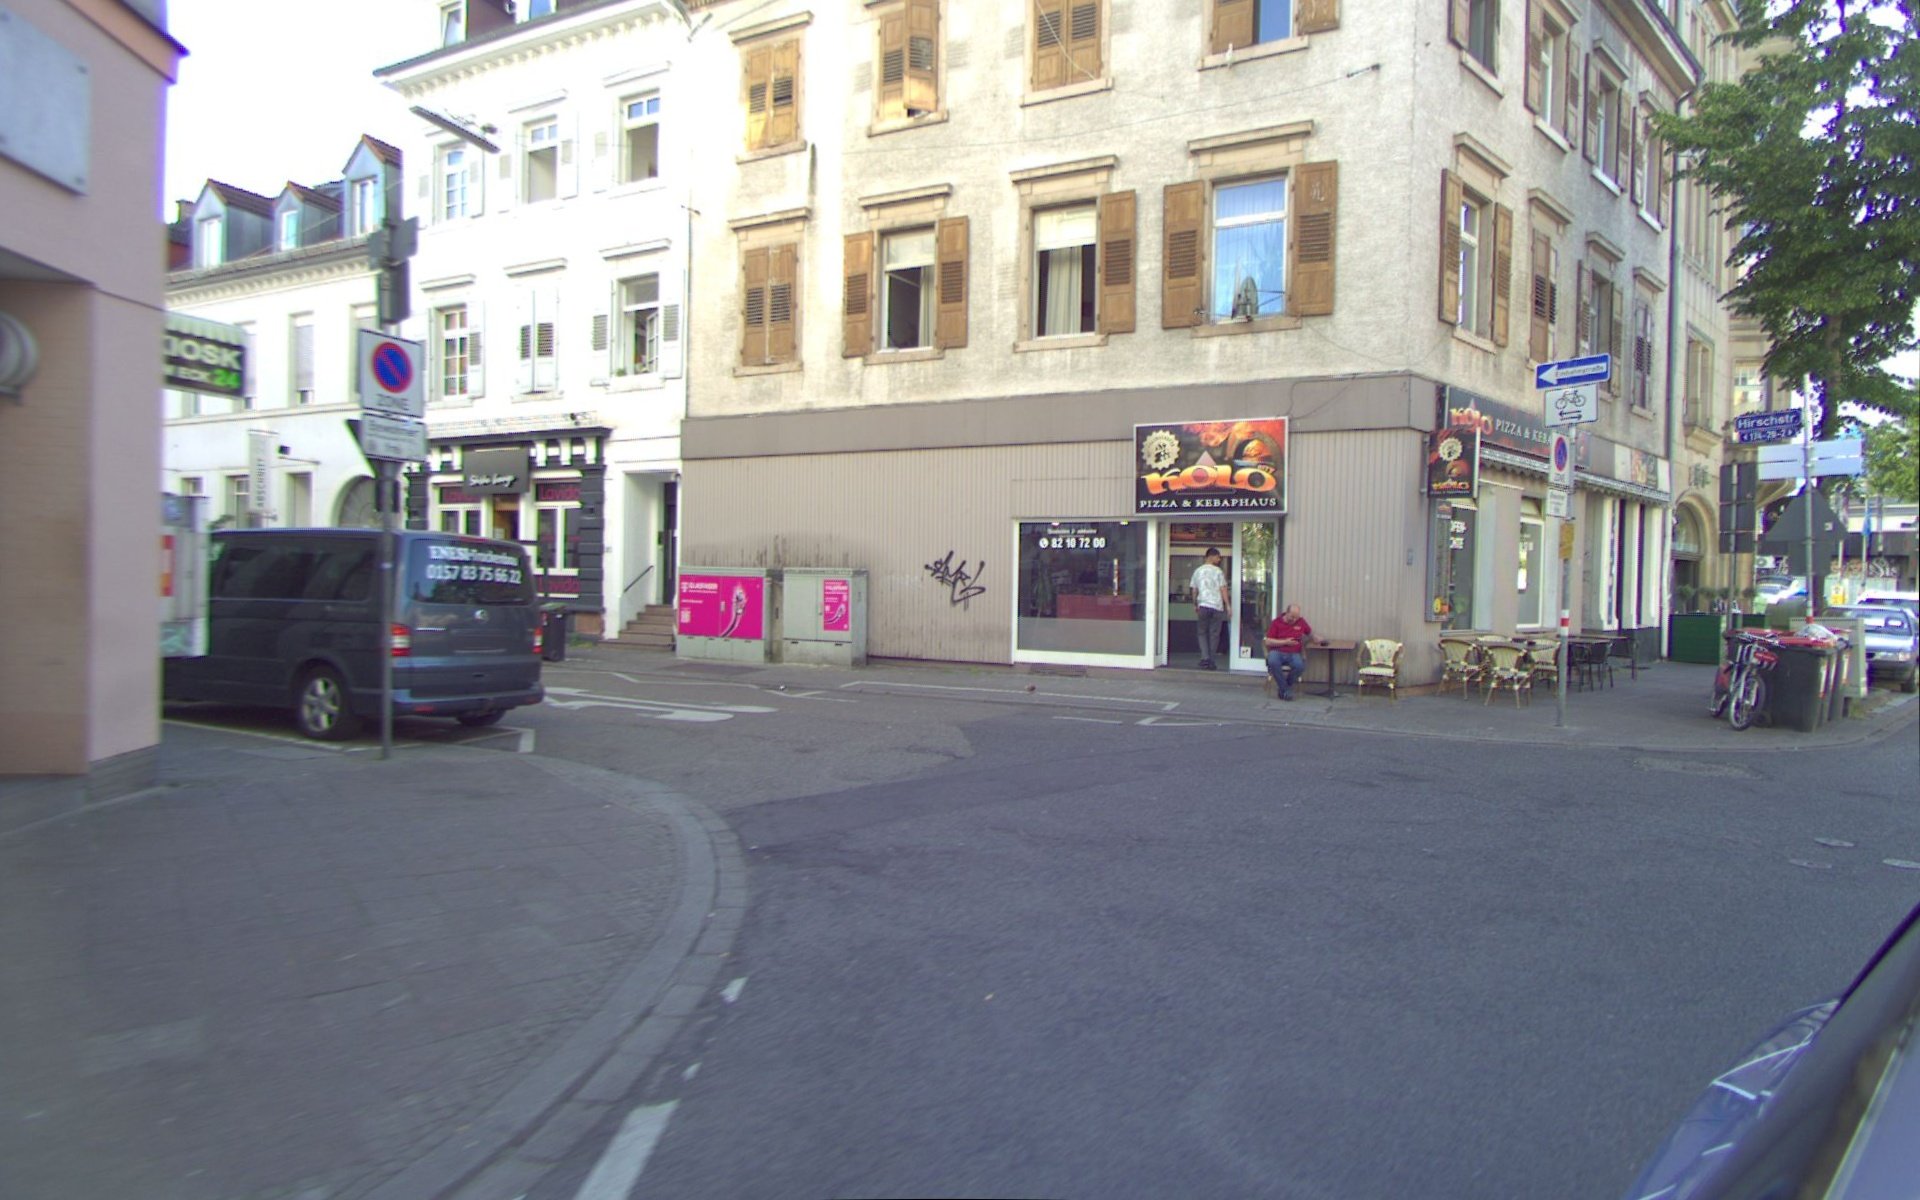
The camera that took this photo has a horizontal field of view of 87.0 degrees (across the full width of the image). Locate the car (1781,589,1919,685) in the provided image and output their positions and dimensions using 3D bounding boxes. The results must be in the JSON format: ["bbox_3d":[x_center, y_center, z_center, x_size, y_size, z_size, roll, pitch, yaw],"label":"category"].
[{"bbox_3d":[16.083,0.579,17.829,4.087,1.436,1.834,0,3,-42],"label":"car"}]

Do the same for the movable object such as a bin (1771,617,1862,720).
[{"bbox_3d":[10.373,0.808,12.266,0.591,1.170,0.721,0,1,-38],"label":"movable object such as a bin"}]

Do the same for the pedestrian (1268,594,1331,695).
[{"bbox_3d":[4.501,0.577,13.449,0.701,1.274,0.589,1,3,11],"label":"pedestrian"}]

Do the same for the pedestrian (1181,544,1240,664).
[{"bbox_3d":[3.691,0.035,14.967,0.787,1.717,0.706,0,3,11],"label":"pedestrian"}]

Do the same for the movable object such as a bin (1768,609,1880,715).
[{"bbox_3d":[10.945,0.754,12.825,0.686,1.228,0.944,-1,3,-39],"label":"movable object such as a bin"}]

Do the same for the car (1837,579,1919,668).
[{"bbox_3d":[19.980,0.461,21.179,4.086,1.671,1.834,0,3,-41],"label":"car"}]

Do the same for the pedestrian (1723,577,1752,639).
[{"bbox_3d":[18.704,0.184,24.336,0.512,1.461,0.460,0,0,-42],"label":"pedestrian"}]

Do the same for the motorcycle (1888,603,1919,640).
[{"bbox_3d":[30.436,0.690,31.140,2.638,1.091,0.951,2,1,35],"label":"motorcycle"}]

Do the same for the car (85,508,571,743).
[{"bbox_3d":[-6.325,0.155,10.133,4.444,1.941,1.926,2,0,23],"label":"car"}]

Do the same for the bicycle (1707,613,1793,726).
[{"bbox_3d":[9.361,0.784,12.039,0.374,1.159,1.660,2,3,24],"label":"bicycle"}]

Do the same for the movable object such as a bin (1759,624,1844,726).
[{"bbox_3d":[9.836,0.857,11.830,0.591,1.081,0.635,-2,3,-39],"label":"movable object such as a bin"}]
